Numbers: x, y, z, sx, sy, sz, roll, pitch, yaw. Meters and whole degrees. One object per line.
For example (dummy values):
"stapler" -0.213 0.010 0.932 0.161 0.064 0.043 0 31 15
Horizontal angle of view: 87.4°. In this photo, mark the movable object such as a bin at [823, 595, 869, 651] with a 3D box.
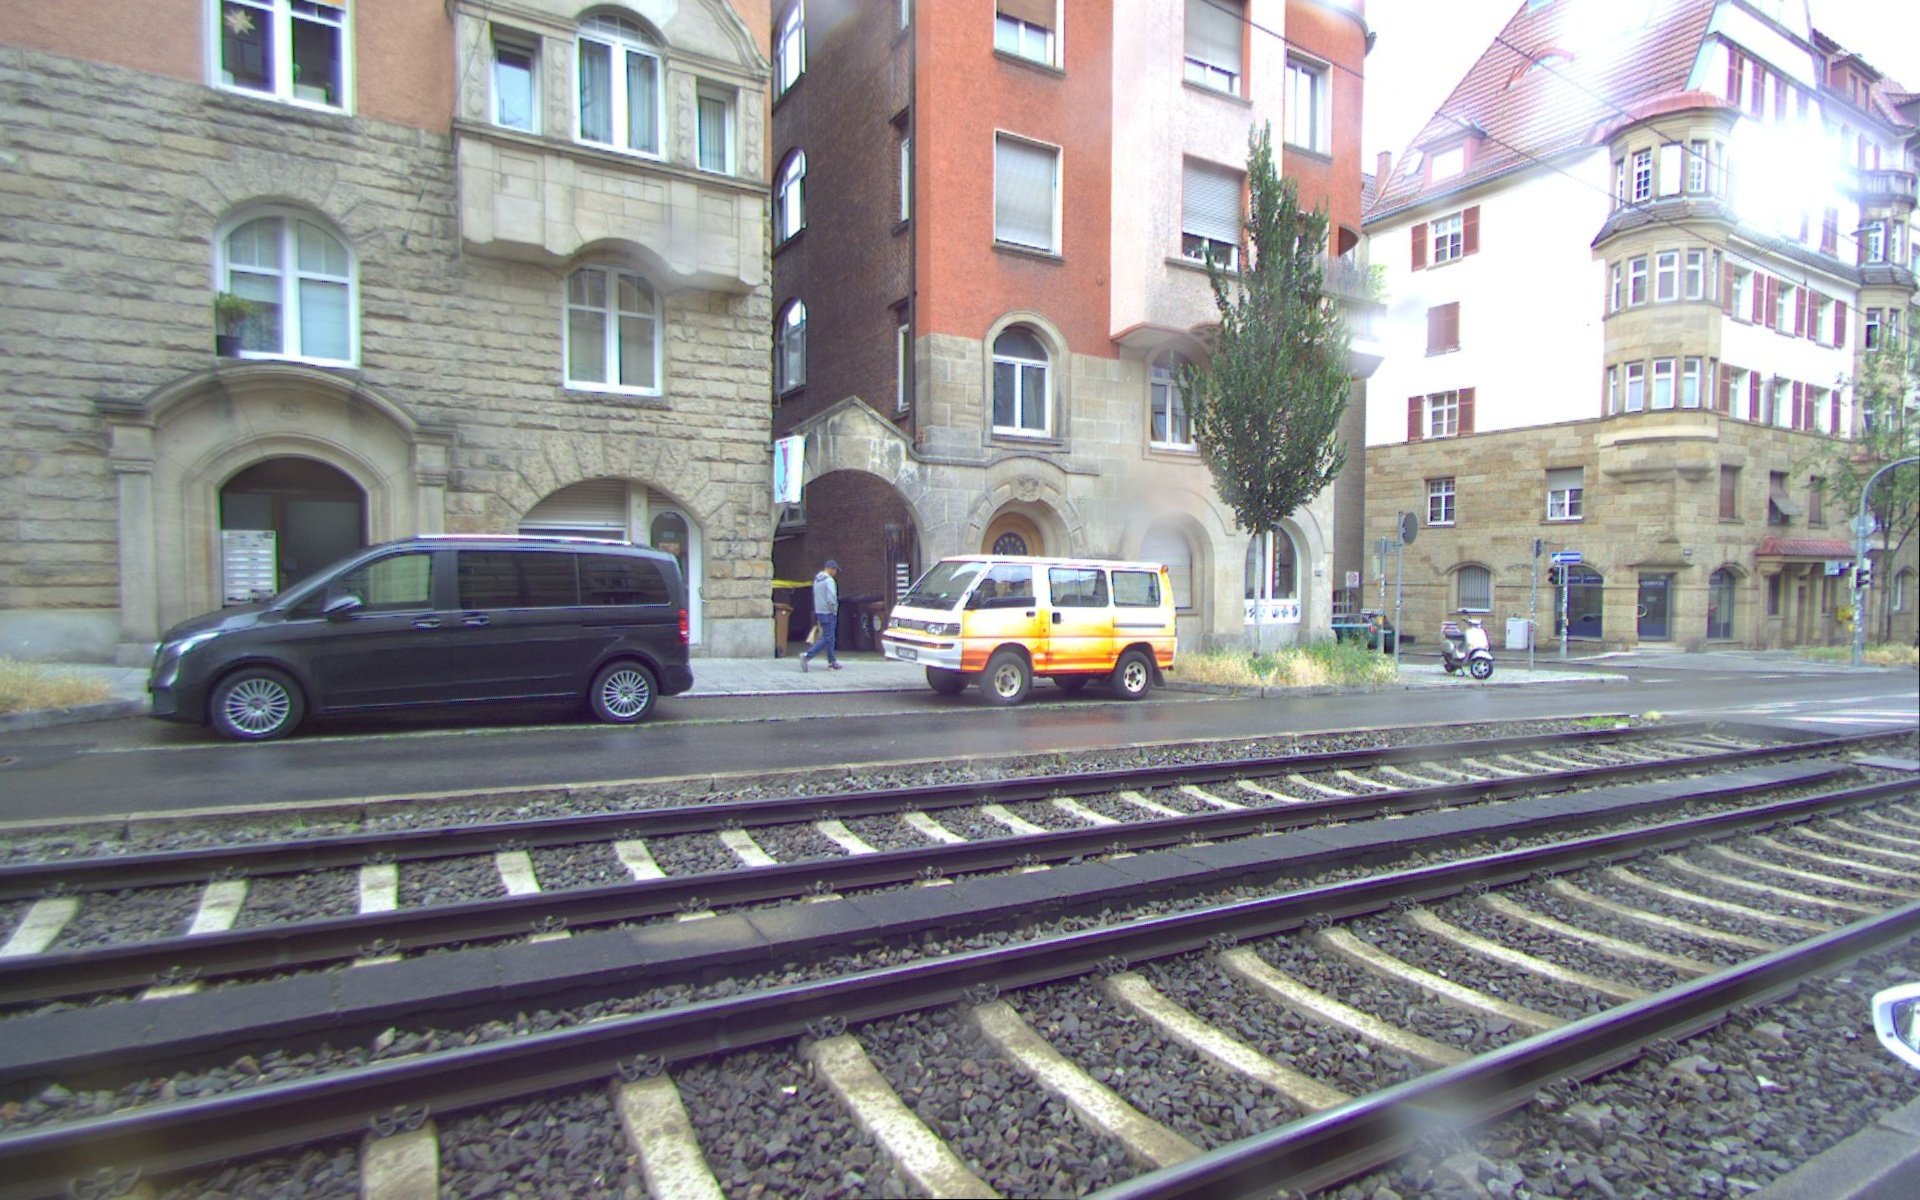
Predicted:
"movable object such as a bin" -2.201 0.439 19.347 0.648 1.058 0.676 2 0 -29

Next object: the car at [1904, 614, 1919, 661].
"car" 33.961 1.324 34.163 4.130 1.549 1.680 2 0 -32

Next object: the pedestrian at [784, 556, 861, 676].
"pedestrian" -2.117 0.237 15.412 0.882 1.743 0.713 2 6 -30

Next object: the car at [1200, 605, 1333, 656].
"car" 9.691 0.938 32.041 1.726 1.486 3.968 2 0 -29

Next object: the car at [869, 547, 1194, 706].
"car" 1.083 0.377 14.278 4.426 1.956 1.719 2 0 -32

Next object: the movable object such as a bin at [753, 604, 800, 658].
"movable object such as a bin" -3.175 0.529 17.371 0.647 0.910 0.544 2 0 -27

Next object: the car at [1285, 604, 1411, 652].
"car" 14.384 1.012 37.379 1.979 1.595 3.963 2 0 -33

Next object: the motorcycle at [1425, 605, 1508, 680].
"motorcycle" 9.978 0.803 19.871 0.752 1.393 1.785 2 0 2

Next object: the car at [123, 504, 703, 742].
"car" -5.287 0.246 10.313 4.777 1.956 1.896 2 0 -31

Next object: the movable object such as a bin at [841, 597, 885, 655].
"movable object such as a bin" -1.820 0.478 18.839 0.648 1.058 0.545 2 0 -29

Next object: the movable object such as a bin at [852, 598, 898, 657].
"movable object such as a bin" -1.552 0.502 18.347 0.648 1.058 0.545 2 0 -29
